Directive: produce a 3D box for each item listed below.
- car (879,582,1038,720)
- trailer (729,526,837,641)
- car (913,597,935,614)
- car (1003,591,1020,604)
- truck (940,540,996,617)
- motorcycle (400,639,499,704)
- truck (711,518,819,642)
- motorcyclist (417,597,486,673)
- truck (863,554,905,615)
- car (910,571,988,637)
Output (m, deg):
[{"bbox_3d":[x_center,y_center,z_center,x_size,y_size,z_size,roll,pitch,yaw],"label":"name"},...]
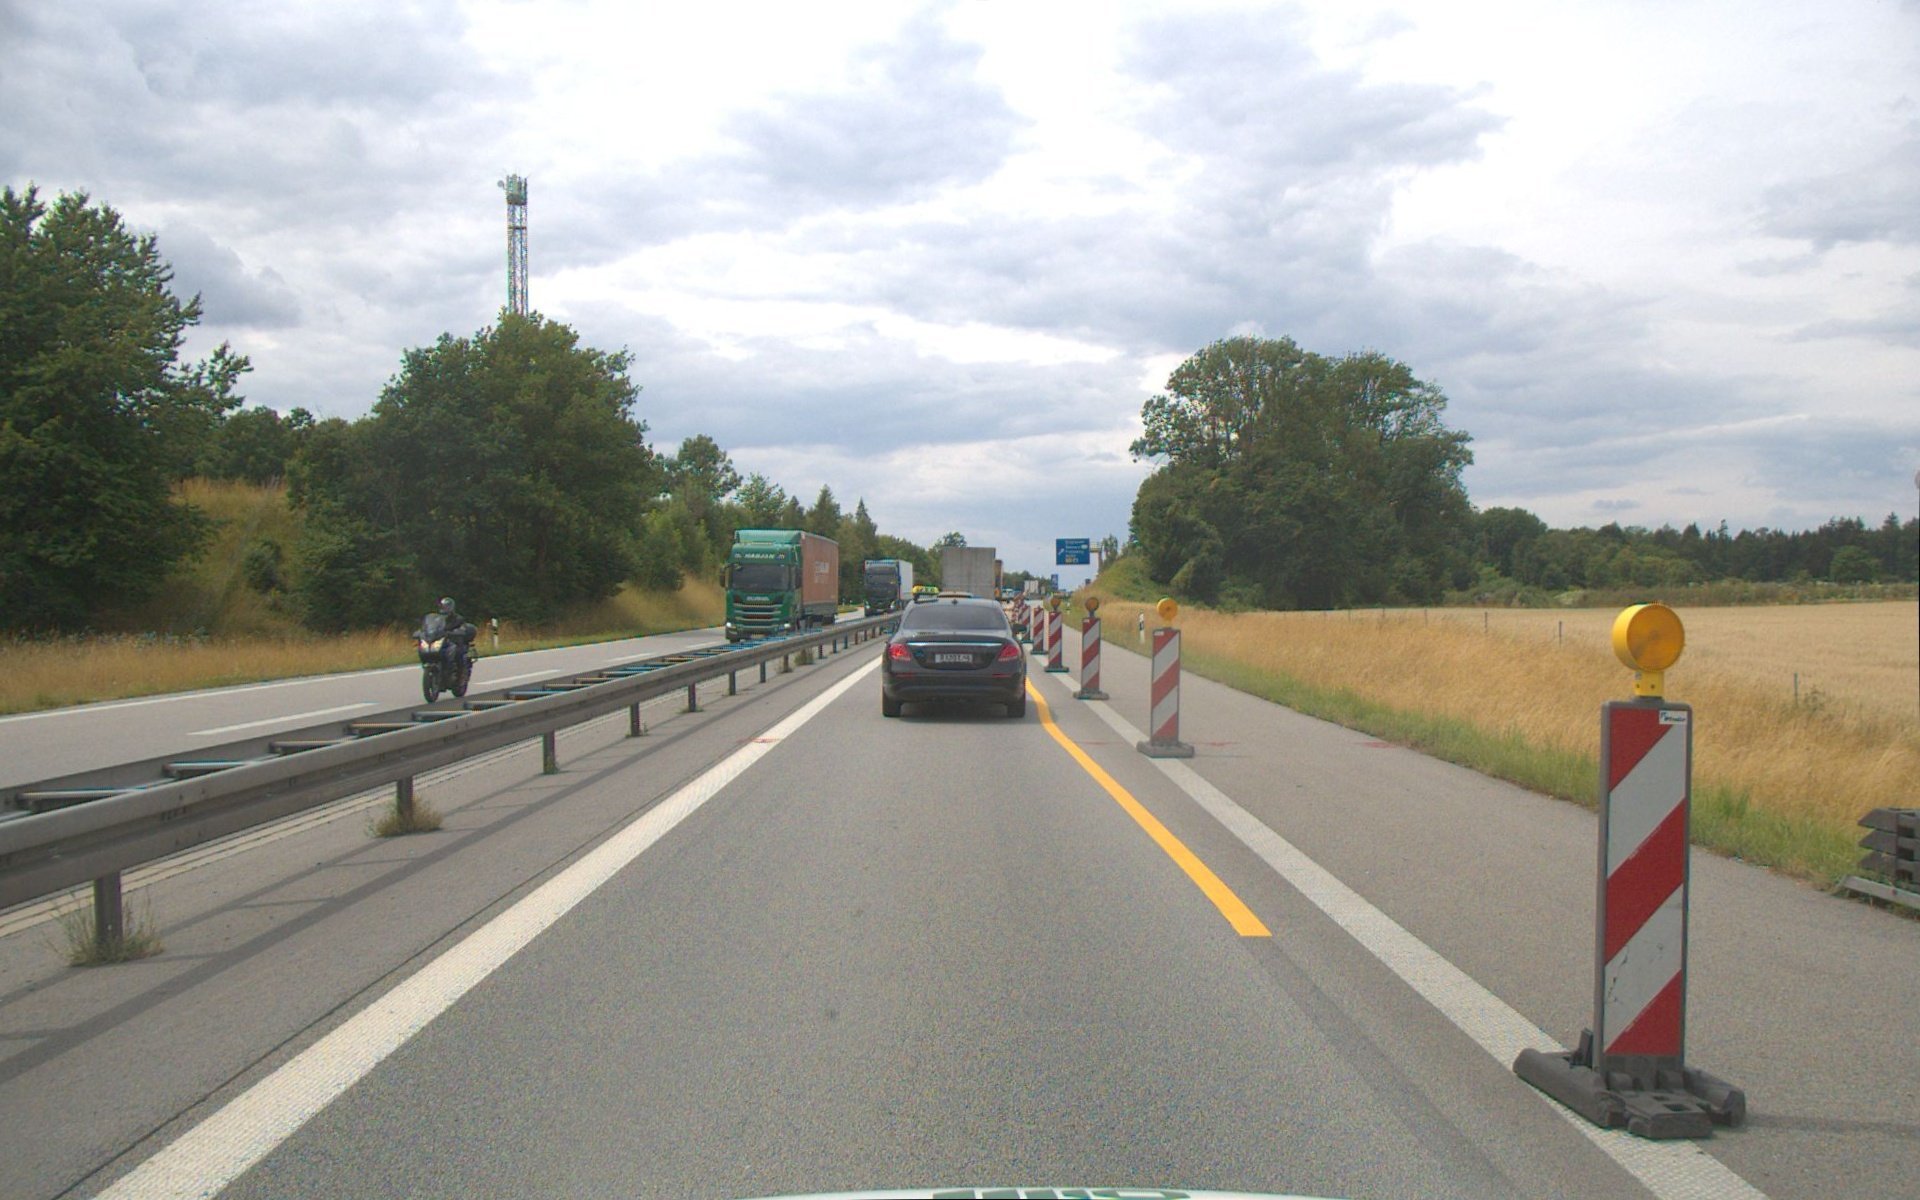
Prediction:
[{"bbox_3d":[0.073,0.619,21.440,1.758,1.587,4.002,1,-1,4],"label":"car"},{"bbox_3d":[-7.060,-0.558,67.804,3.086,4.287,11.642,1,-1,0],"label":"trailer"},{"bbox_3d":[-3.603,0.589,165.873,1.952,1.646,4.000,1,-1,1],"label":"car"},{"bbox_3d":[5.981,-0.245,192.969,1.617,1.420,3.702,1,-1,-4],"label":"car"},{"bbox_3d":[0.337,-0.997,80.348,2.534,3.586,4.811,1,-1,-2],"label":"truck"},{"bbox_3d":[-8.532,1.172,27.786,0.838,0.950,2.724,1,0,-1],"label":"motorcycle"},{"bbox_3d":[-7.094,-0.658,61.140,3.058,4.287,6.781,1,-1,1],"label":"truck"},{"bbox_3d":[-8.513,0.585,27.696,0.843,1.230,0.960,1,-1,-1],"label":"motorcyclist"},{"bbox_3d":[-5.510,-1.074,120.876,2.585,4.243,6.986,1,-1,1],"label":"truck"},{"bbox_3d":[-0.397,0.158,54.128,1.957,2.049,3.991,1,-1,-9],"label":"car"}]
